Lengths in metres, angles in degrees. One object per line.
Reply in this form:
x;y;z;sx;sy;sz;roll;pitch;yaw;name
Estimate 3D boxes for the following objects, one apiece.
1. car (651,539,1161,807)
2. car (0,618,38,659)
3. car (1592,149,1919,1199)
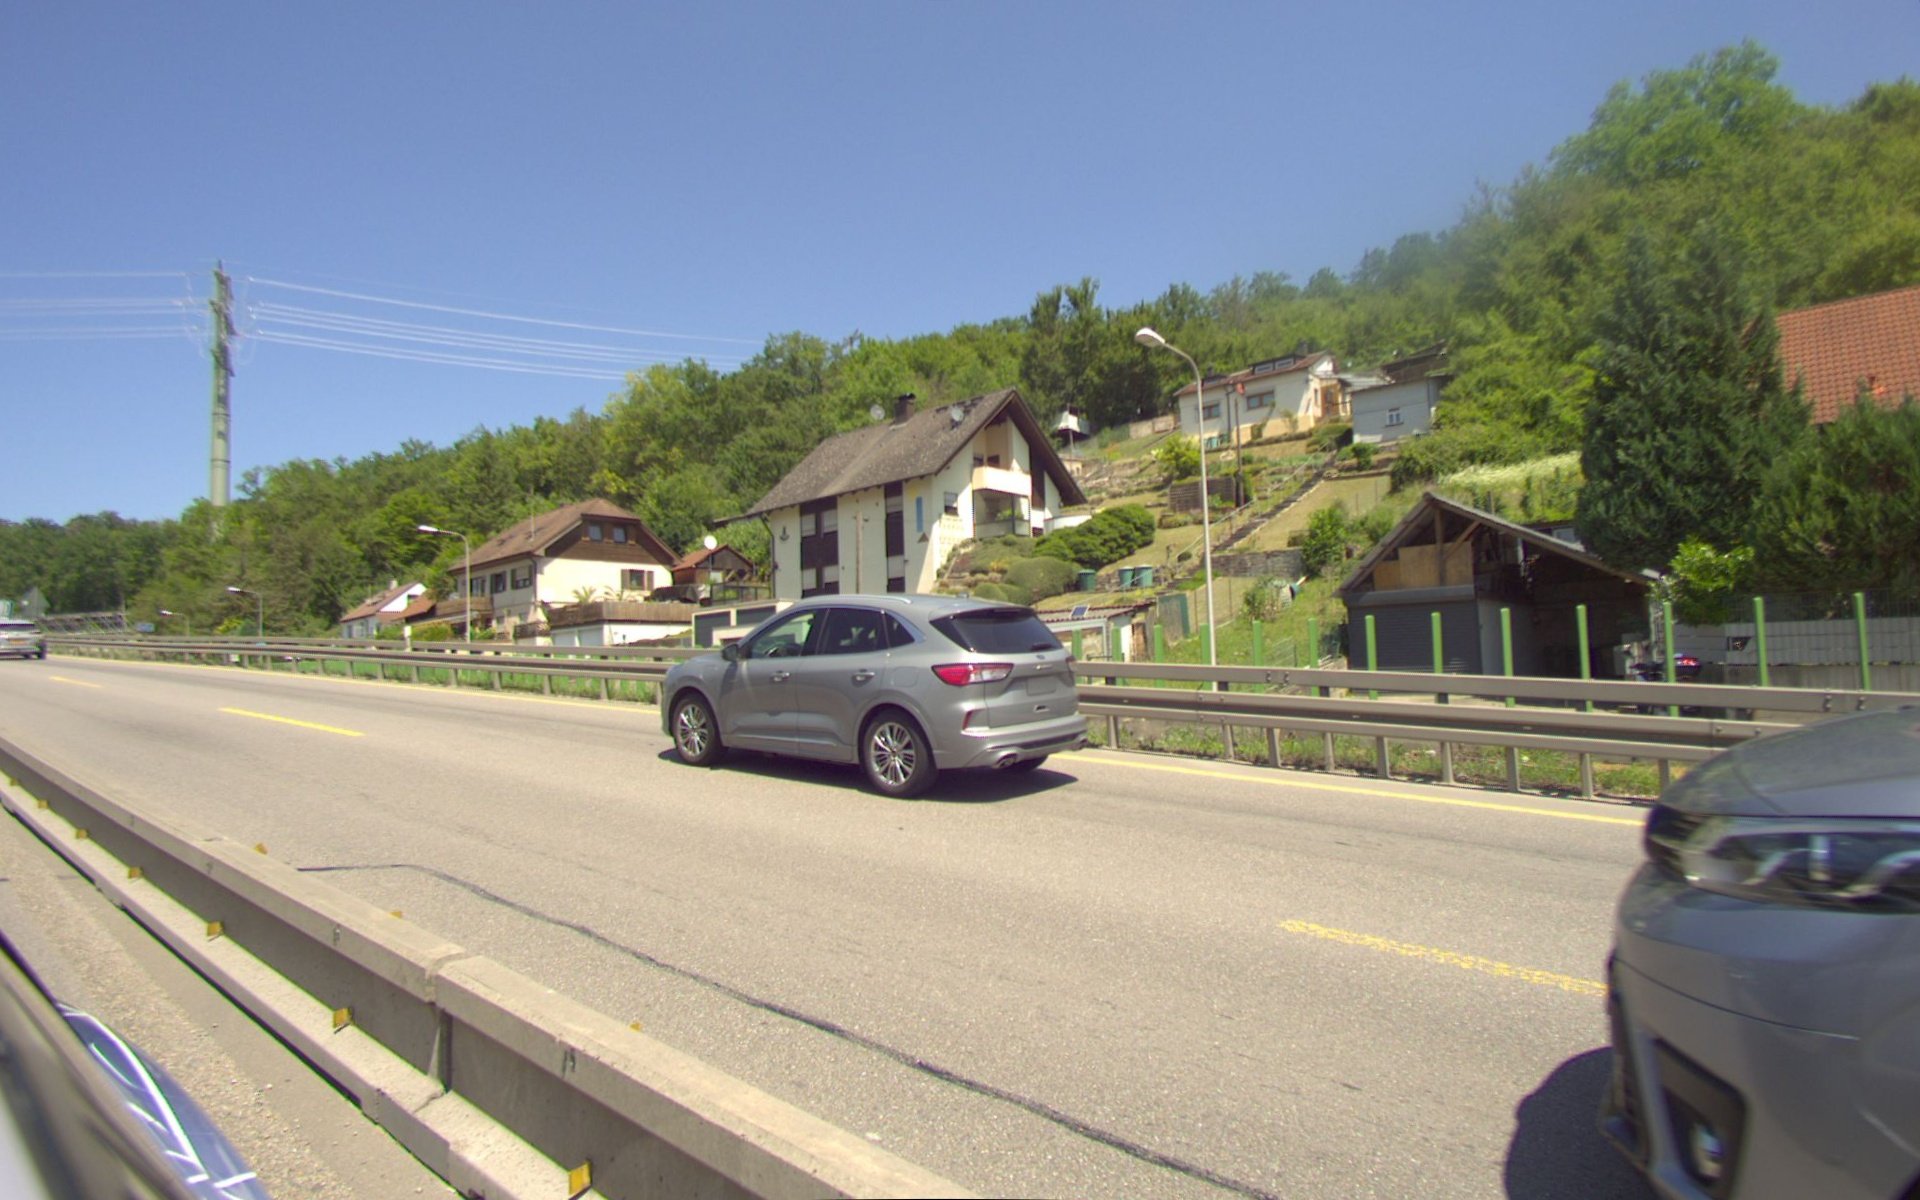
-0.669;0.516;9.174;4.505;1.841;1.973;-1;0;40;car
-36.876;1.461;38.824;3.970;1.490;1.685;-1;-1;40;car
3.646;0.330;0.928;4.966;2.029;1.973;-1;-2;41;car
